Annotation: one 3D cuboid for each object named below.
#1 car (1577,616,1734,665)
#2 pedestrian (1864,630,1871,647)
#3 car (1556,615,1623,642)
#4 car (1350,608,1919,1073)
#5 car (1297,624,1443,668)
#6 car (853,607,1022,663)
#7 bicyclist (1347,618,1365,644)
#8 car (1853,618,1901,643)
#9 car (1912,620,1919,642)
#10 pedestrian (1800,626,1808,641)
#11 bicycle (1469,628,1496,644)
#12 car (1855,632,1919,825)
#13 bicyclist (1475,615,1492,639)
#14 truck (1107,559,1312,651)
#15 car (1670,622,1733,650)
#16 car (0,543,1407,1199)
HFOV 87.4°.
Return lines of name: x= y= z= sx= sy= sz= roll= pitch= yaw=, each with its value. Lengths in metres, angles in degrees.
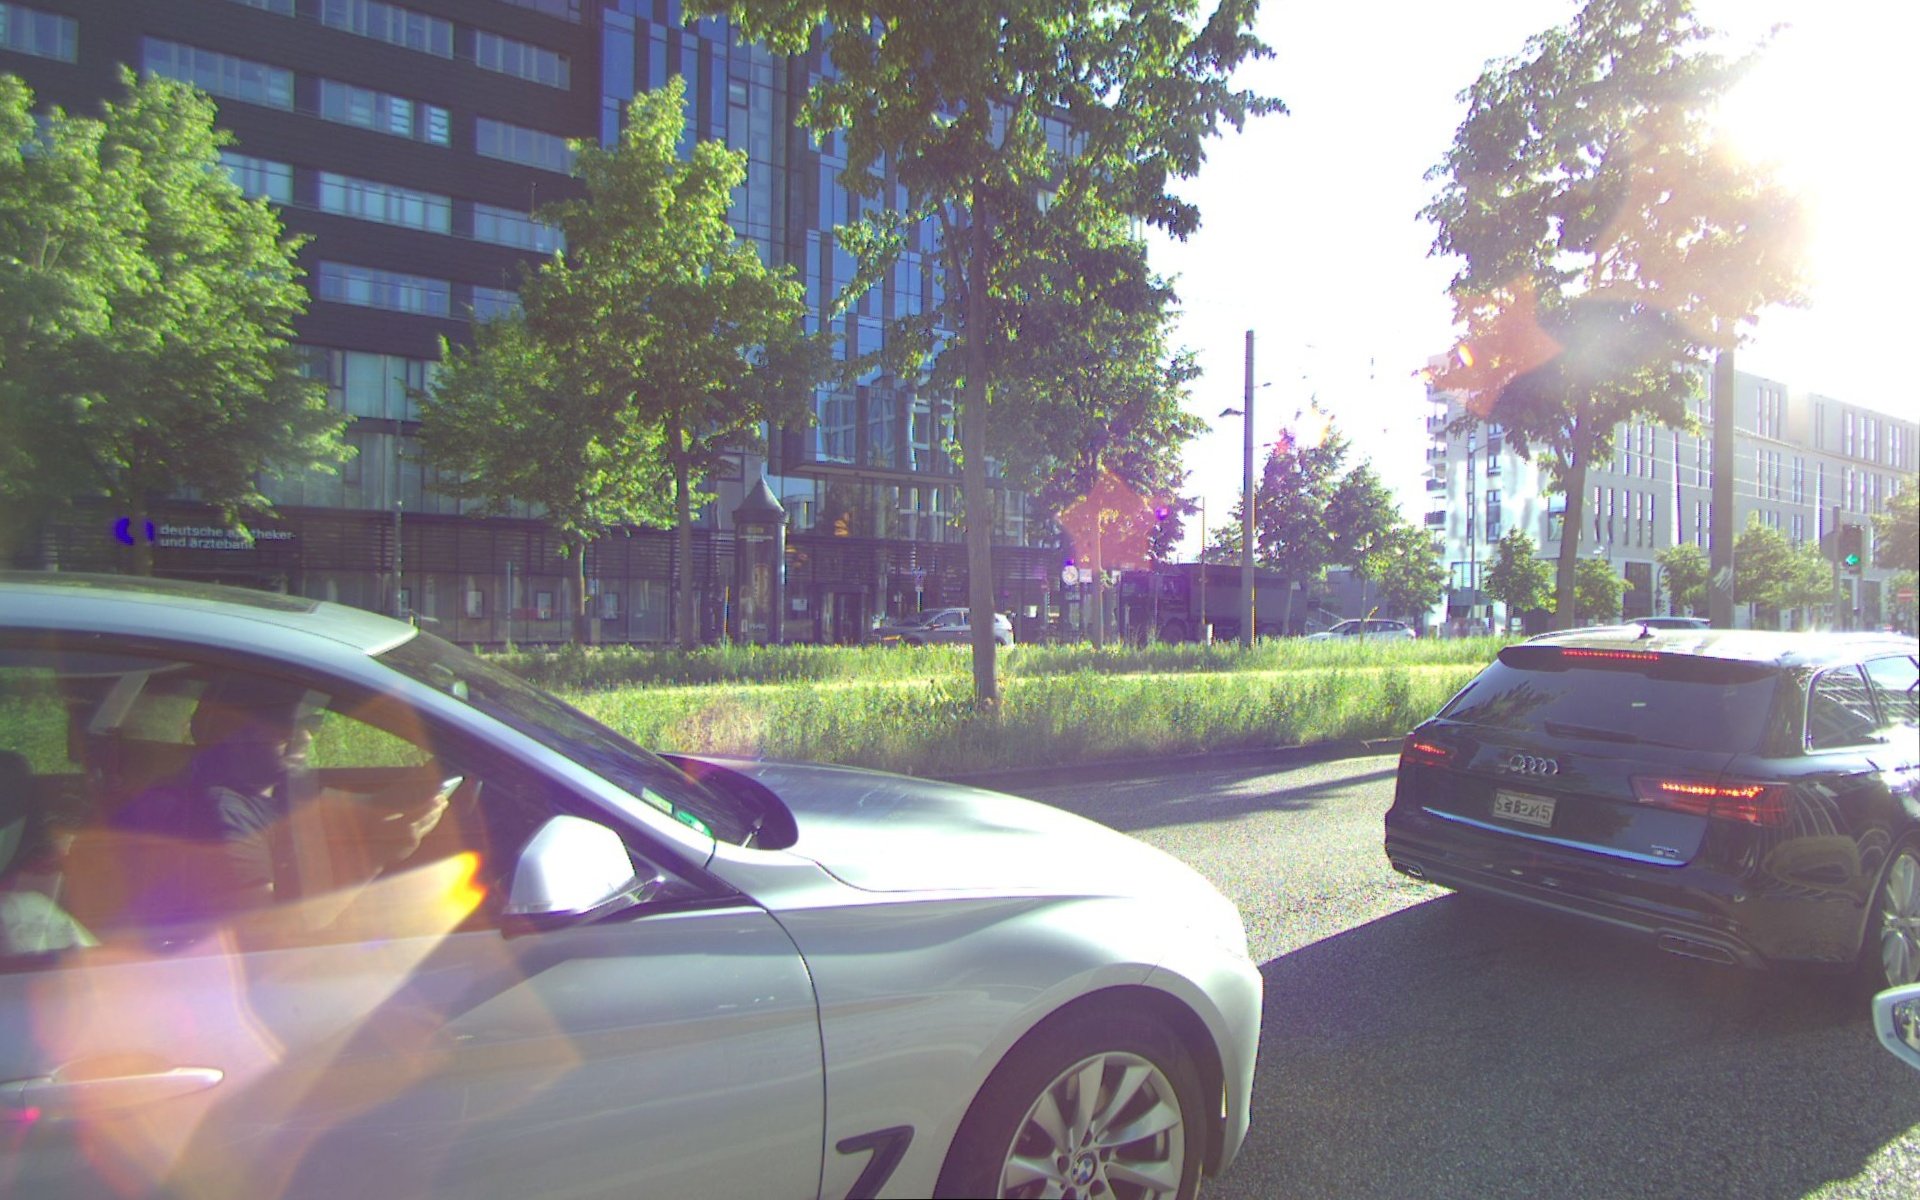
car: x=23.589 y=1.323 z=34.171 sx=1.508 sy=1.512 sz=4.165 roll=1 pitch=-1 yaw=-41
pedestrian: x=96.429 y=4.079 z=106.757 sx=0.474 sy=1.767 sz=0.466 roll=1 pitch=0 yaw=-30
car: x=37.532 y=1.682 z=59.900 sx=3.953 sy=1.540 sz=1.756 roll=1 pitch=-1 yaw=-30
car: x=4.459 y=0.837 z=5.358 sx=4.911 sy=1.504 sz=1.864 roll=1 pitch=-1 yaw=-32
car: x=14.406 y=1.609 z=35.409 sx=4.484 sy=1.467 sz=1.803 roll=1 pitch=-1 yaw=-8
car: x=-0.575 y=0.956 z=28.084 sx=4.523 sy=1.467 sz=1.787 roll=1 pitch=-1 yaw=-35
bicyclist: x=21.854 y=1.706 z=55.421 sx=0.811 sy=1.443 sz=0.475 roll=1 pitch=-1 yaw=-30
car: x=78.097 y=2.586 z=85.523 sx=3.953 sy=2.040 sz=1.984 roll=1 pitch=-1 yaw=-30
car: x=90.296 y=2.872 z=93.138 sx=3.953 sy=2.040 sz=1.984 roll=1 pitch=-1 yaw=-30
pedestrian: x=78.781 y=3.125 z=93.721 sx=0.384 sy=1.457 sz=0.461 roll=1 pitch=0 yaw=-26
bicycle: x=34.448 y=2.385 z=66.174 sx=1.933 sy=1.001 sz=0.673 roll=1 pitch=-1 yaw=-31
car: x=9.354 y=1.013 z=8.203 sx=4.288 sy=1.445 sz=1.833 roll=1 pitch=-1 yaw=-30
bicyclist: x=34.486 y=1.793 z=66.166 sx=0.706 sy=1.549 sz=0.674 roll=1 pitch=0 yaw=-30
truck: x=11.697 y=0.299 z=46.493 sx=10.094 sy=3.904 sz=2.877 roll=1 pitch=-1 yaw=-31
car: x=51.470 y=2.508 z=69.675 sx=4.319 sy=1.838 sz=1.984 roll=1 pitch=-1 yaw=-30
car: x=-1.308 y=0.698 z=2.034 sx=4.509 sy=1.504 sz=1.810 roll=1 pitch=-1 yaw=-31
